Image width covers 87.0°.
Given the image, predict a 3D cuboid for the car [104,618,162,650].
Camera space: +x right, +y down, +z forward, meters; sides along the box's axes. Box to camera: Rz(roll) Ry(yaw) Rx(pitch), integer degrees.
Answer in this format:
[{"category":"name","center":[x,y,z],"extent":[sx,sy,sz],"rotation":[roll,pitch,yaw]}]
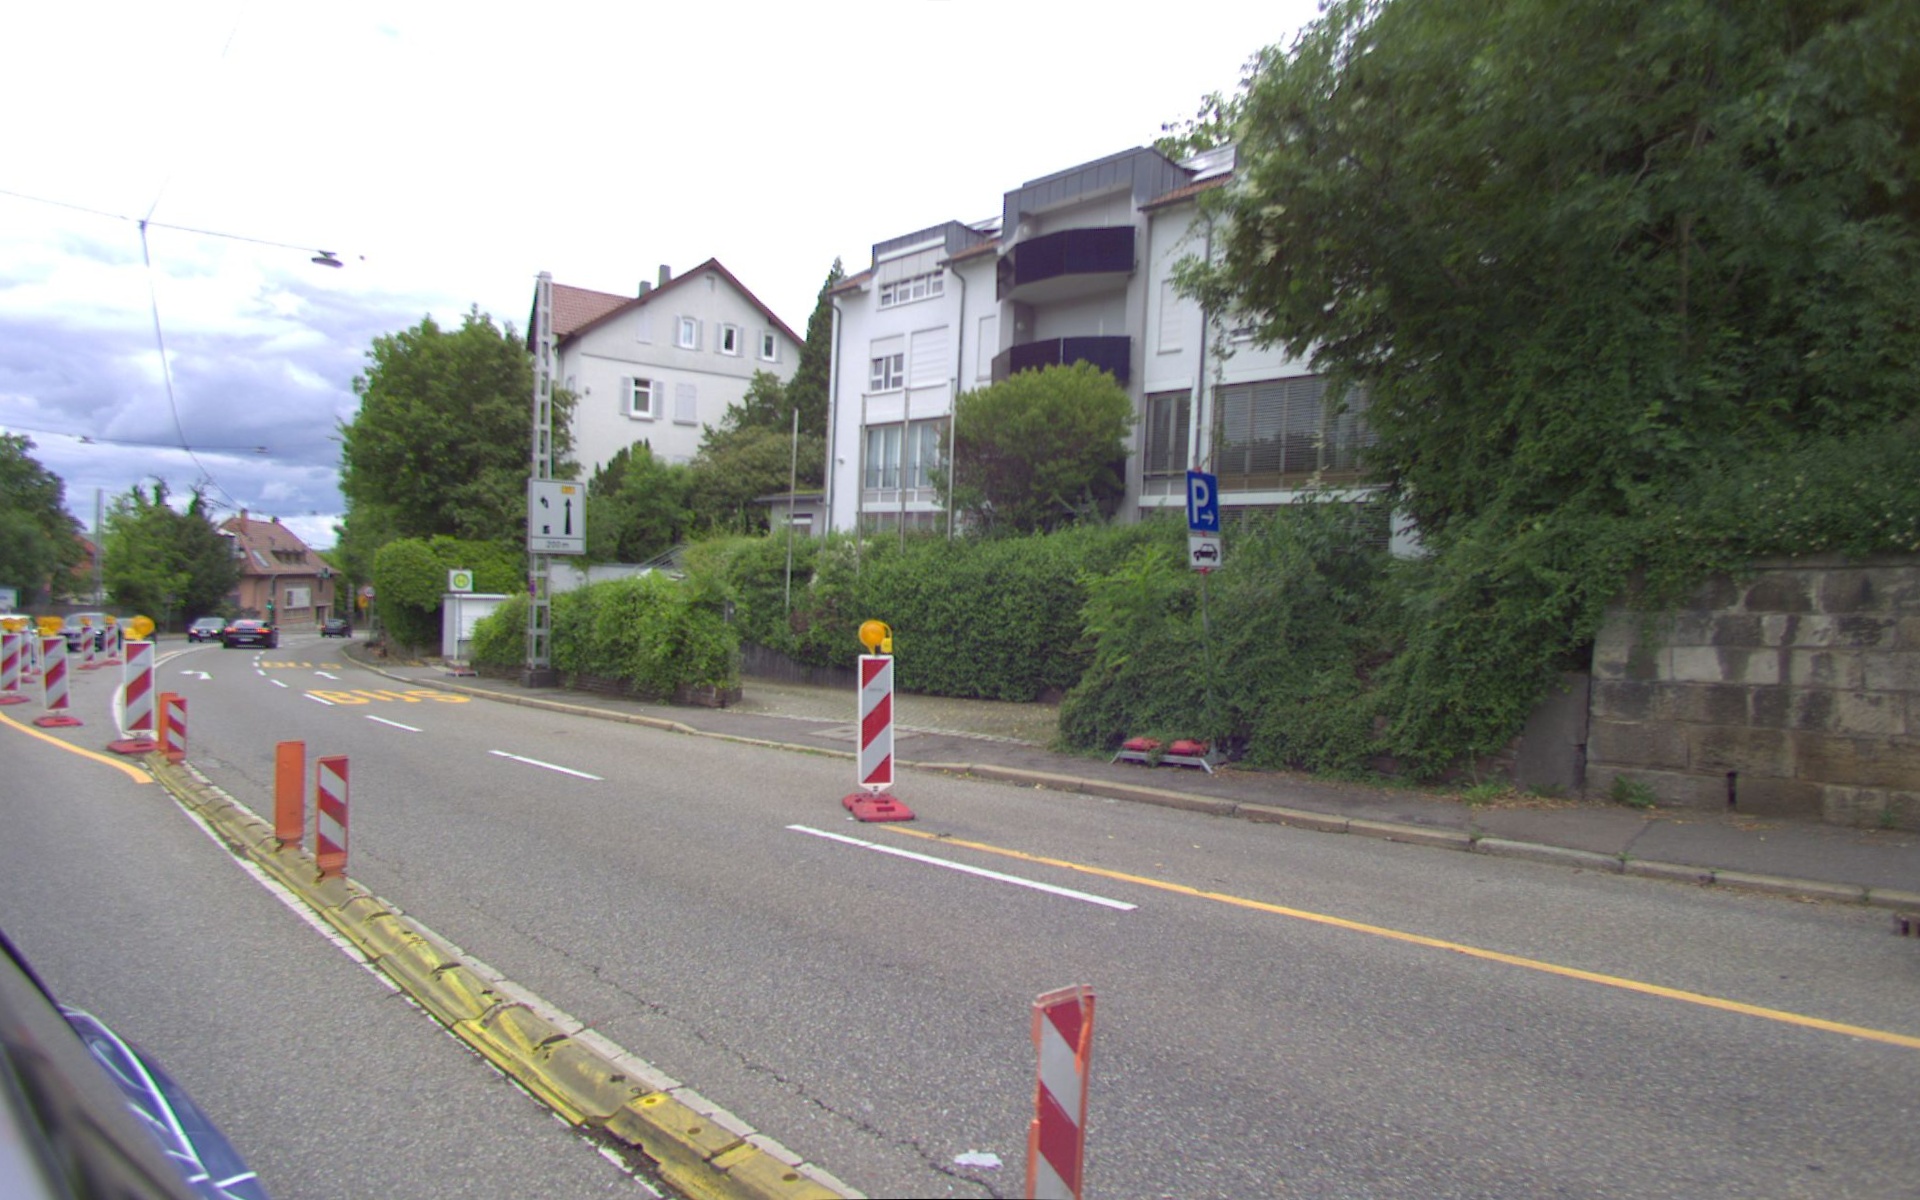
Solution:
[{"category":"car","center":[-42.541,1.726,52.156],"extent":[1.769,1.522,4.012],"rotation":[0,-1,-32]}]

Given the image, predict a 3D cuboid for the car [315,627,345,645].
[{"category":"car","center":[-52.416,2.972,84.272],"extent":[1.690,1.472,4.013],"rotation":[2,-3,-26]}]

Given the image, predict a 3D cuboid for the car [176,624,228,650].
[{"category":"car","center":[-45.248,2.191,60.513],"extent":[1.762,1.492,4.258],"rotation":[0,-1,-27]}]

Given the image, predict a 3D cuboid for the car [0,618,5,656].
[{"category":"car","center":[-38.628,1.408,38.832],"extent":[1.828,1.545,4.245],"rotation":[4,-3,-30]}]

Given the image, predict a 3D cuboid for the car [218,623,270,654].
[{"category":"car","center":[-35.036,1.881,49.606],"extent":[1.796,1.402,4.450],"rotation":[3,-3,-32]}]

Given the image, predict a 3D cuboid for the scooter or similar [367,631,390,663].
[{"category":"scooter or similar","center":[-22.796,1.826,39.659],"extent":[1.282,1.218,0.423],"rotation":[-1,0,45]}]

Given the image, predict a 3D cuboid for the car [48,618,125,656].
[{"category":"car","center":[-37.397,1.573,43.416],"extent":[1.769,1.522,4.012],"rotation":[3,-3,-31]}]

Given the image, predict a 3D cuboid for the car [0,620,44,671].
[{"category":"car","center":[-31.146,1.461,32.893],"extent":[1.765,1.563,4.253],"rotation":[0,-2,-39]}]
